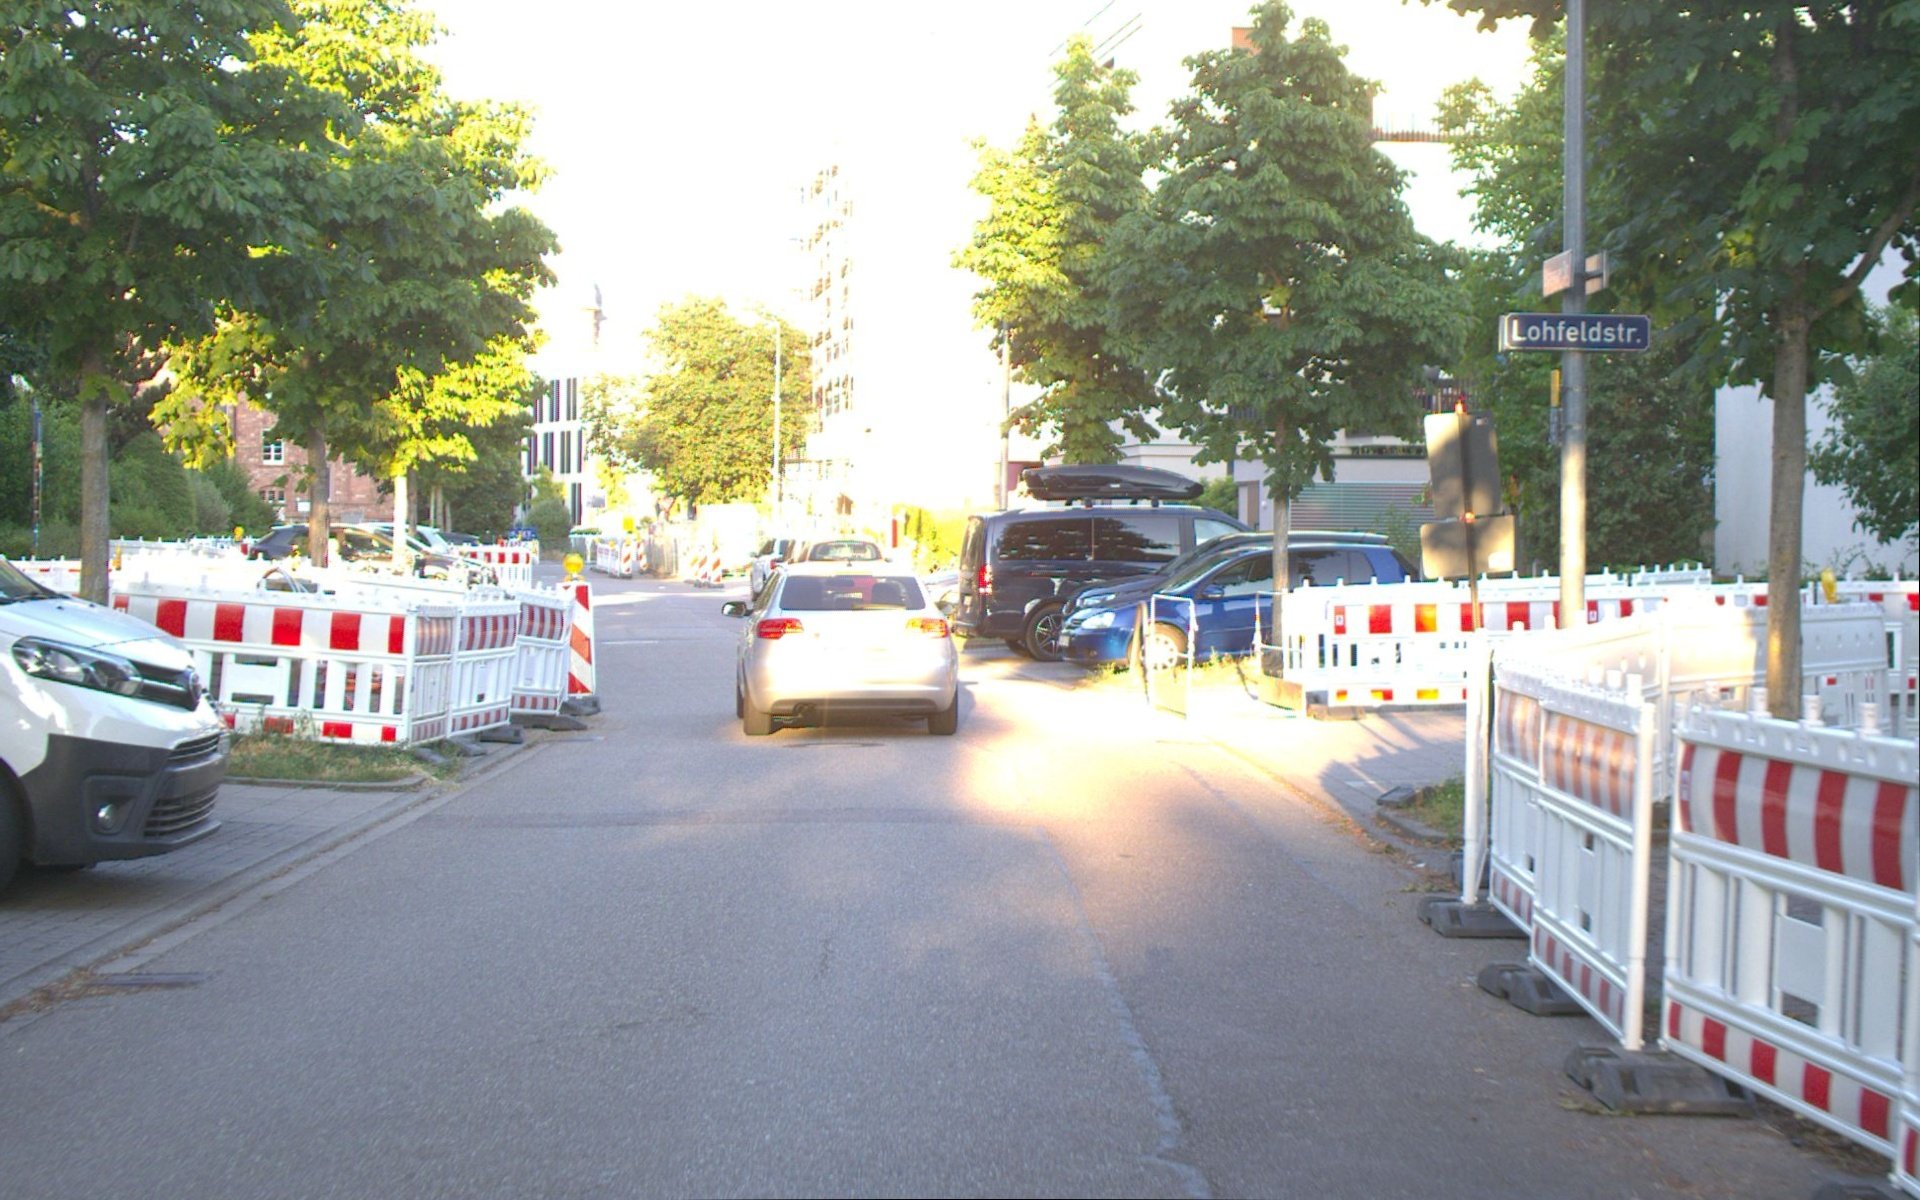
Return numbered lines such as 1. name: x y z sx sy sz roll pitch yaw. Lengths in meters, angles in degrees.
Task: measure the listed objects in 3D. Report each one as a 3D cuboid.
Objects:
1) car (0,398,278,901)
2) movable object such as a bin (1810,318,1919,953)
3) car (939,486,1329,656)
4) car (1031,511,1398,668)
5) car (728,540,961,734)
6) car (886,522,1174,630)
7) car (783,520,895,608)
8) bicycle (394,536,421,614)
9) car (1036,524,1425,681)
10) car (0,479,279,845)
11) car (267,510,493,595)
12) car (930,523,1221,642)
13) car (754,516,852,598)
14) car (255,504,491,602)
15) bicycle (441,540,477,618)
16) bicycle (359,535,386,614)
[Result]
1. car: -5.507 0.134 14.731 4.771 2.007 2.000 1 1 -2
2. movable object such as a bin: 5.107 0.195 11.642 2.627 2.394 5.199 1 1 -6
3. car: 2.166 -0.377 43.568 4.555 2.016 2.102 1 1 -9
4. car: 3.004 -0.140 41.119 3.986 1.762 2.001 1 1 -9
5. car: -0.961 0.257 29.046 1.807 1.483 4.000 -1 1 -2
6. car: 1.065 -0.377 53.449 4.148 1.566 1.798 1 1 -12
7. car: -2.192 -0.658 61.322 1.730 1.478 3.558 1 1 -6
8. bicycle: -8.946 -0.415 55.643 0.406 1.223 1.988 1 1 -10
9. car: 3.011 0.018 38.616 3.986 1.645 1.765 1 1 -12
10. car: -5.595 0.247 17.376 3.986 1.746 1.800 1 1 -3
11. car: -10.540 -0.878 62.642 3.986 1.475 2.001 -1 2 -9
12. car: 1.688 -0.270 51.049 3.938 1.643 1.977 1 1 -12
13. car: -3.295 -0.917 71.527 1.808 1.607 3.582 1 1 -6
14. car: -10.257 -0.829 60.227 3.986 1.620 2.001 1 1 -9
15. bicycle: -8.114 -0.351 55.637 0.405 1.223 1.988 1 1 -12
16. bicycle: -9.518 -0.423 55.690 0.406 1.223 1.988 1 1 -10
